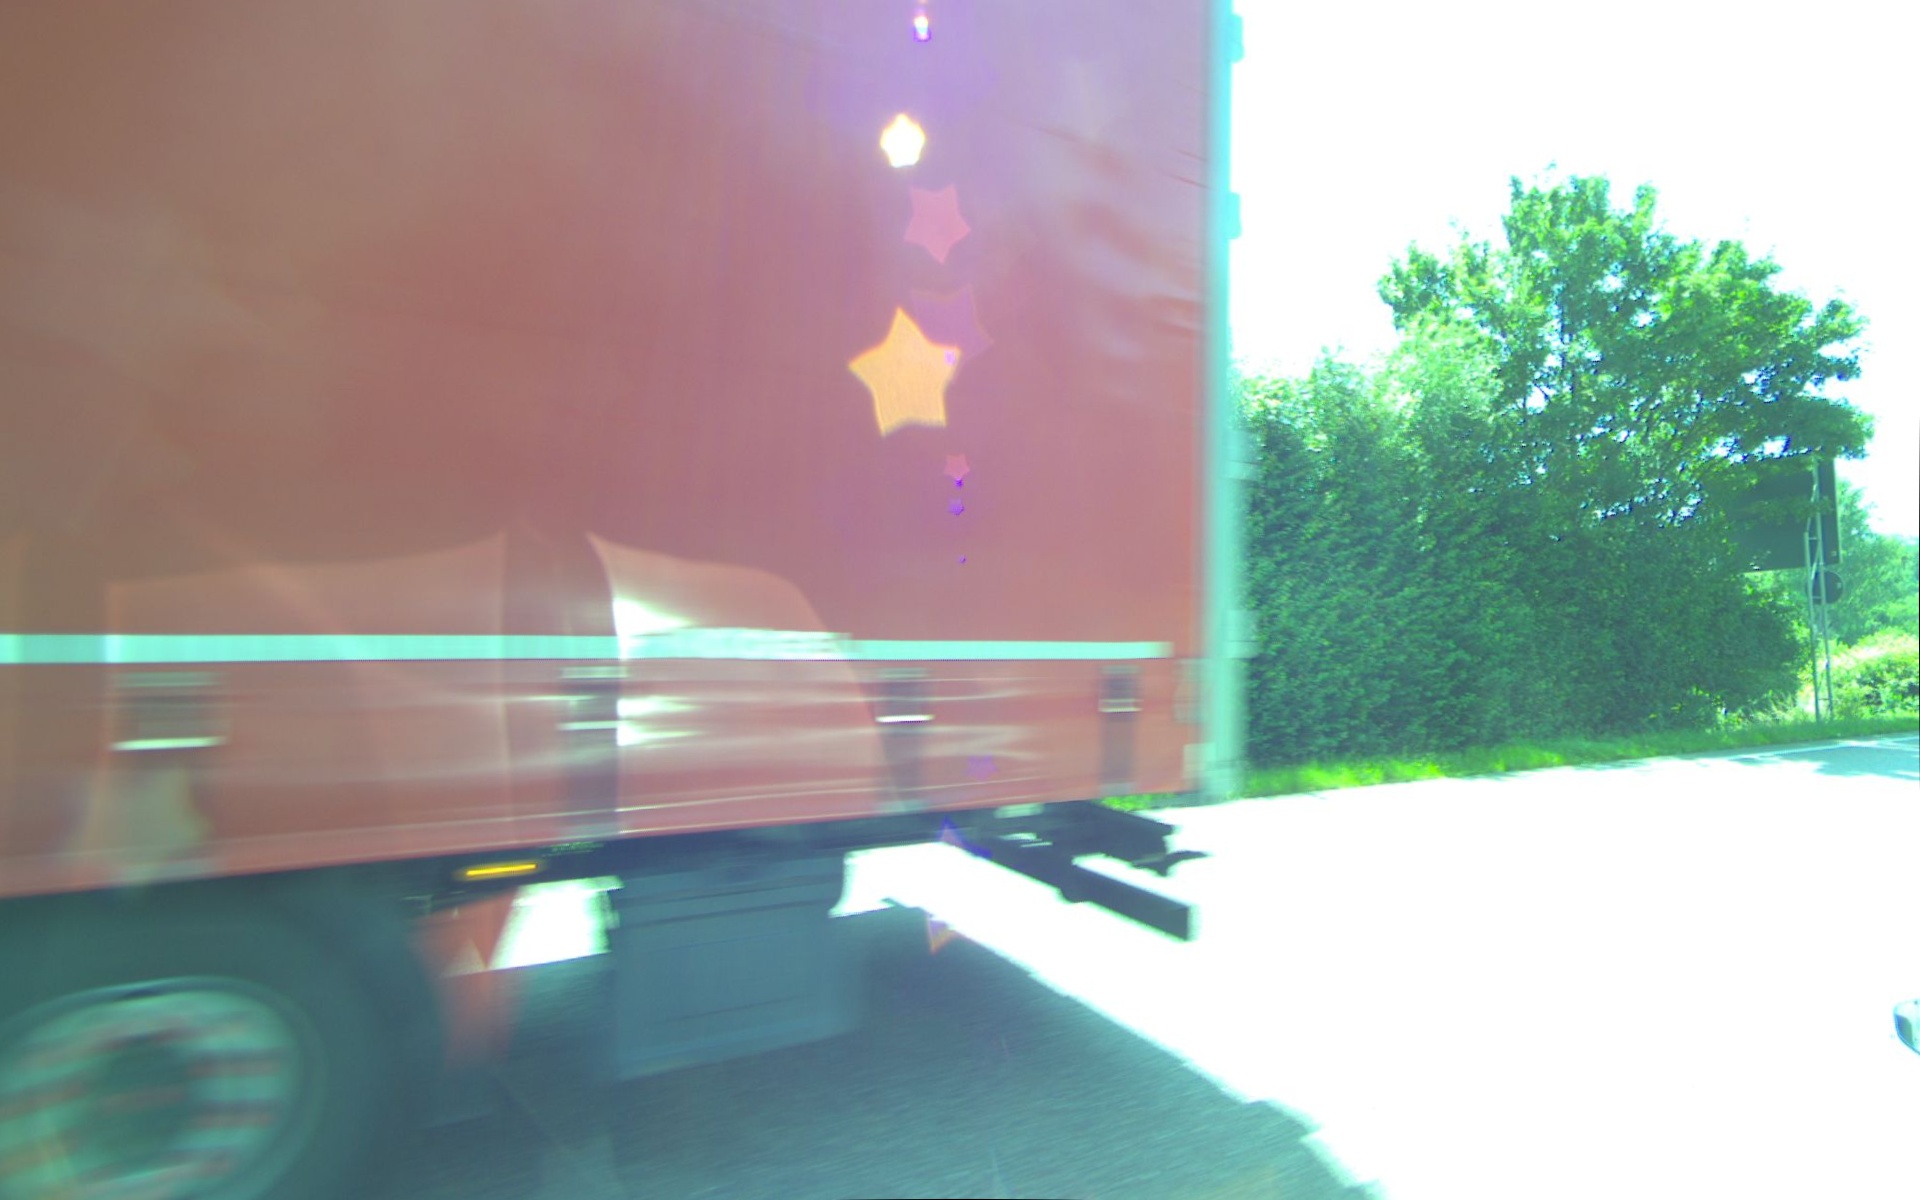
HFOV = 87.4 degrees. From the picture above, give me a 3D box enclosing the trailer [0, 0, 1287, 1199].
[{"bbox_3d":[-5.378,-0.763,1.008,13.501,4.162,2.556,1,-1,-30],"label":"trailer"}]
